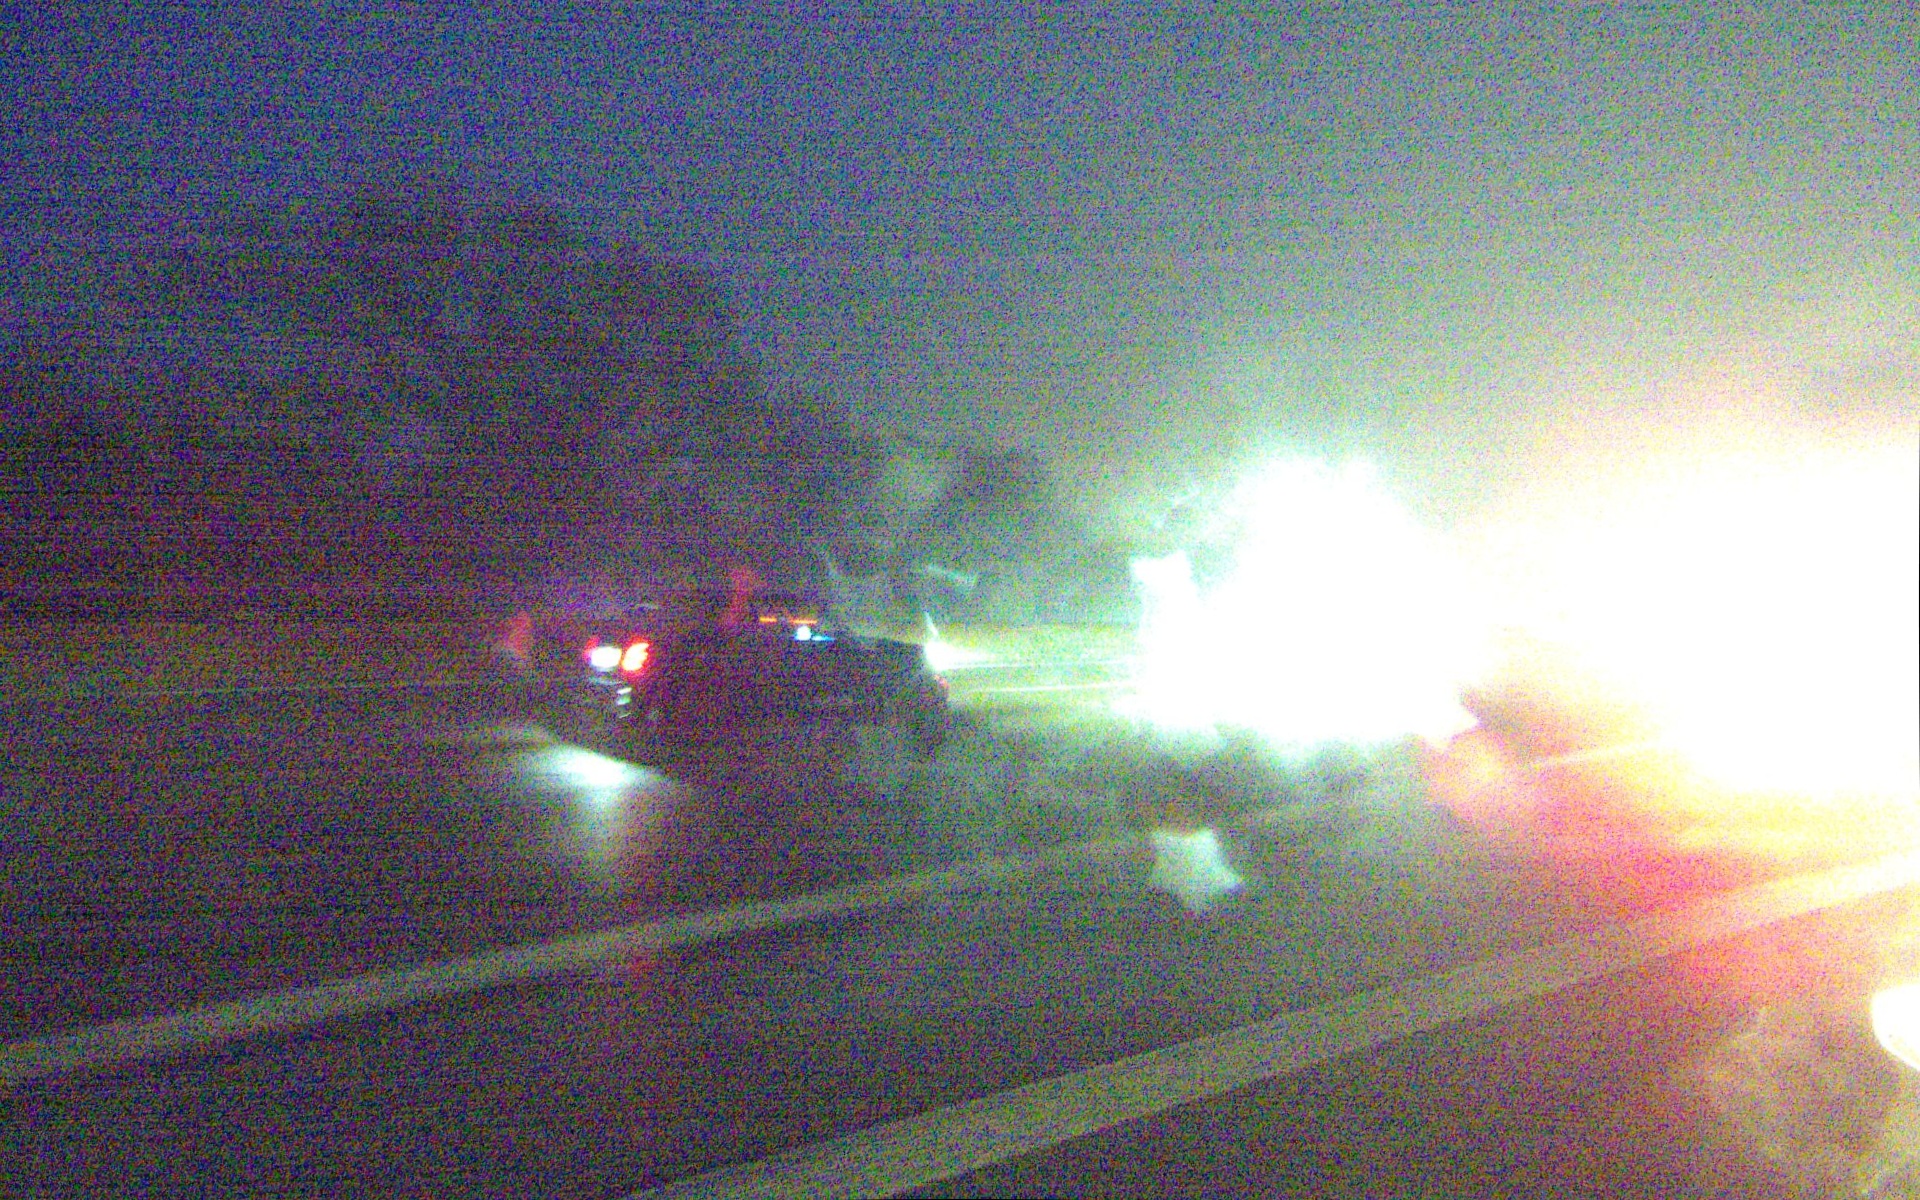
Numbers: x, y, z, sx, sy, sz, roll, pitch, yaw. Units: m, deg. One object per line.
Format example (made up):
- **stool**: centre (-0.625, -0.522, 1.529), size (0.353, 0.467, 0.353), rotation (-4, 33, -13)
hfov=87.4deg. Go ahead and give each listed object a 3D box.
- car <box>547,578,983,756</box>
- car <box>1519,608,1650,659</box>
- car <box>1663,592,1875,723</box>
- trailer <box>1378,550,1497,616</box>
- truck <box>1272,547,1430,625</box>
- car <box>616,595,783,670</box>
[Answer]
- **car**: centre (-1.936, 0.584, 10.403), size (3.963, 1.460, 1.979), rotation (1, 1, -37)
- **car**: centre (20.977, 1.112, 33.655), size (5.117, 1.496, 1.979), rotation (1, 1, -37)
- **car**: centre (14.899, 0.964, 18.413), size (4.607, 2.040, 2.108), rotation (1, 1, -40)
- **trailer**: centre (28.402, -0.939, 59.556), size (8.810, 3.556, 2.605), rotation (1, 1, -38)
- **truck**: centre (21.088, -0.645, 53.732), size (10.767, 3.743, 2.605), rotation (1, 1, -38)
- **car**: centre (-7.039, 0.863, 27.314), size (3.962, 1.832, 1.890), rotation (1, 1, -37)
